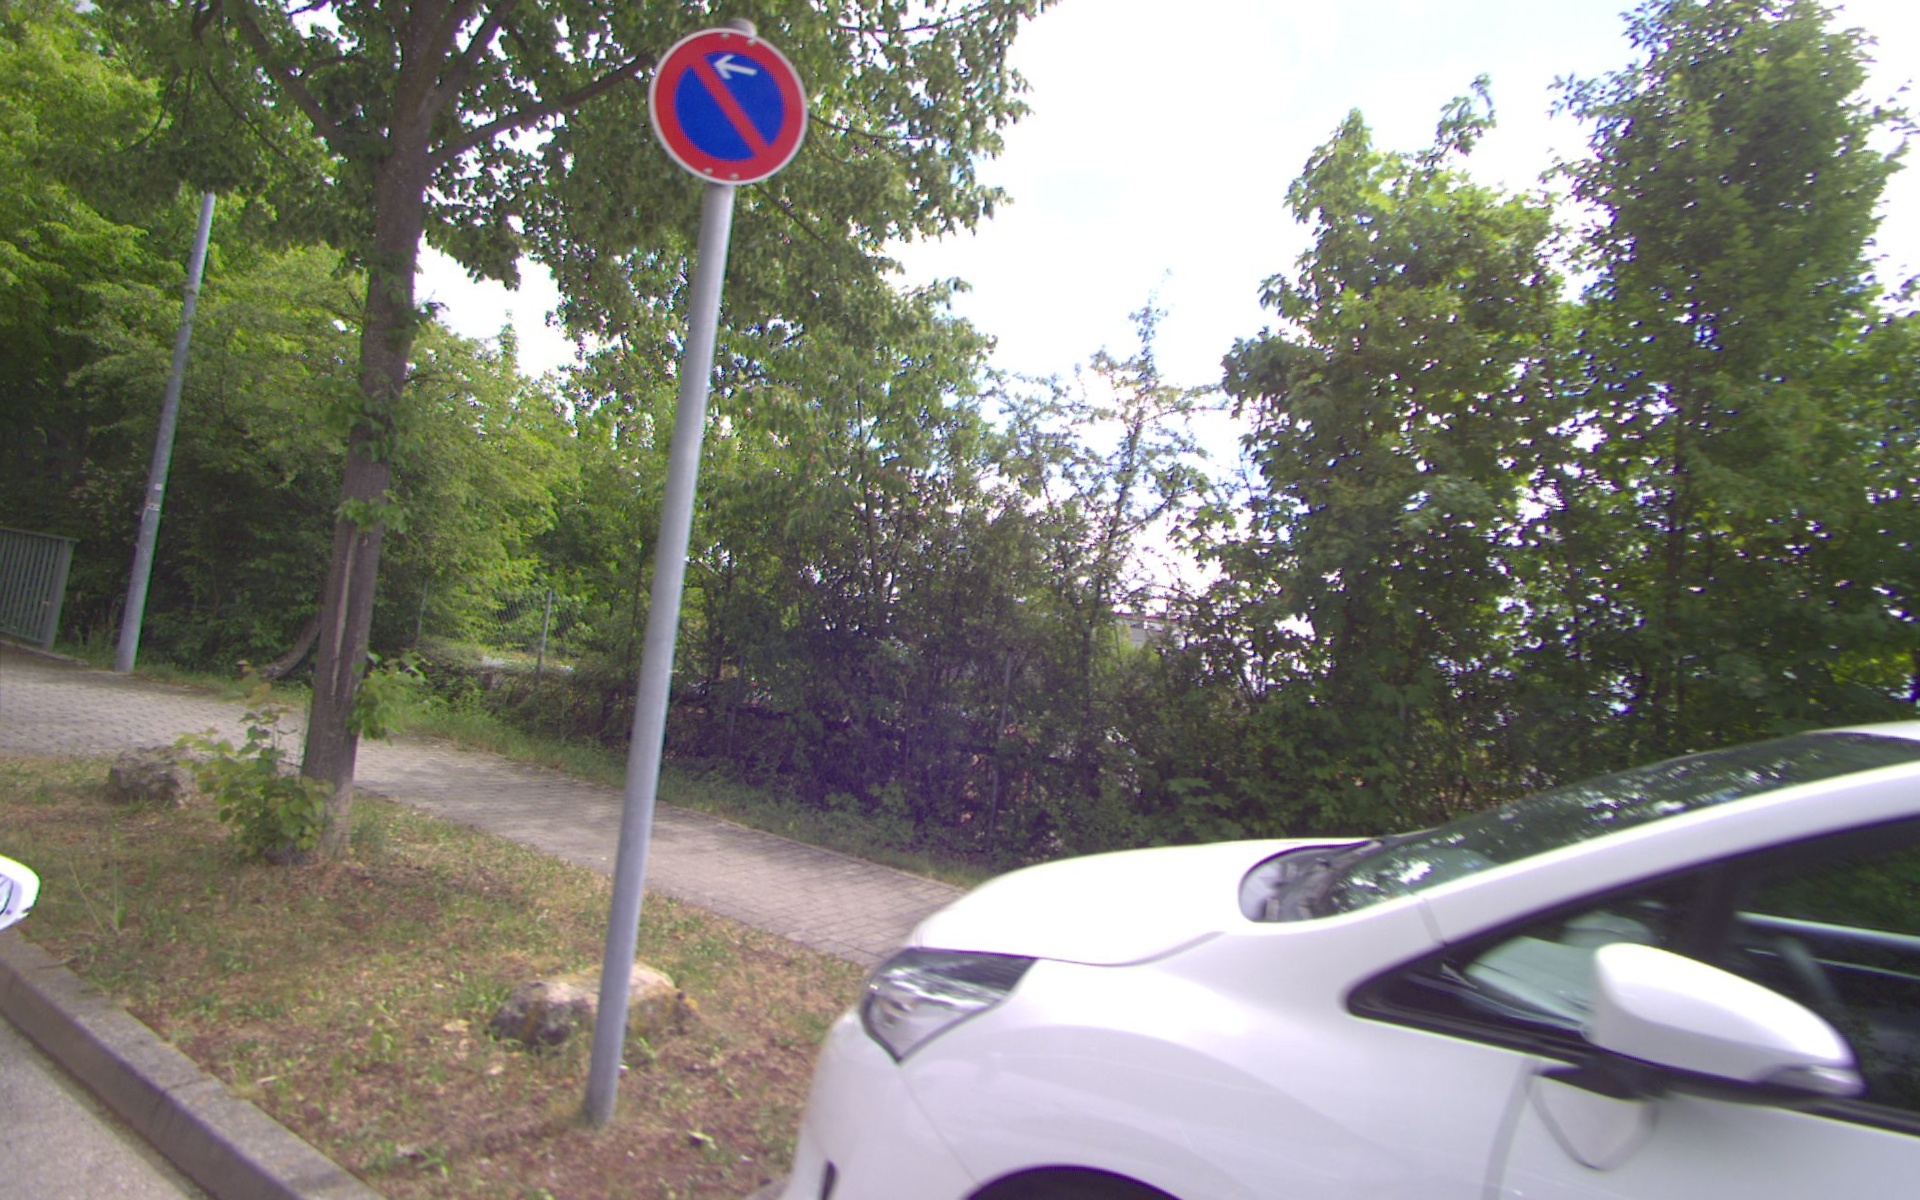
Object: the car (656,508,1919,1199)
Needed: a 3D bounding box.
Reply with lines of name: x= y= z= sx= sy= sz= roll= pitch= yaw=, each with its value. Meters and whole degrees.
car: x=1.783 y=0.945 z=1.551 sx=4.298 sy=1.618 sz=1.809 roll=7 pitch=-2 yaw=30
